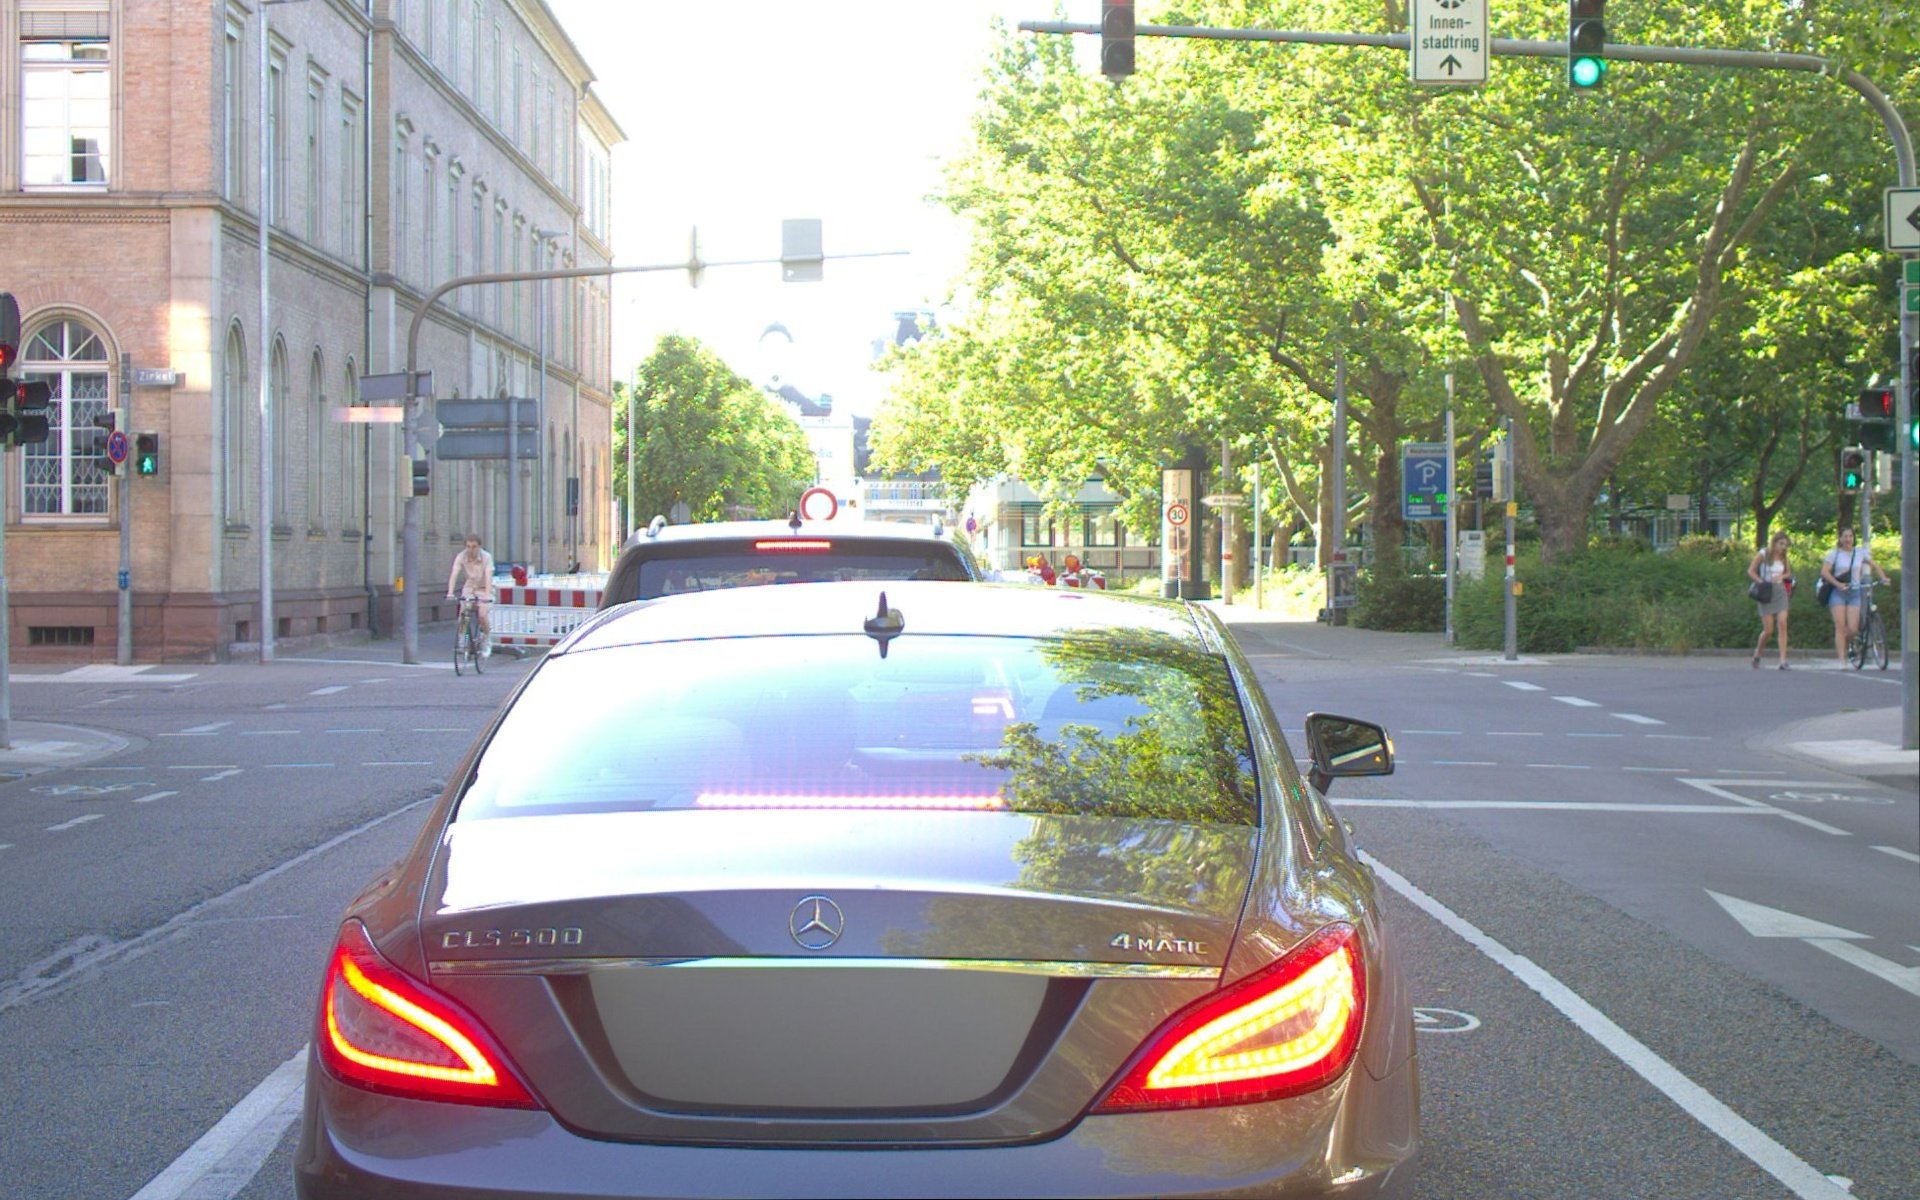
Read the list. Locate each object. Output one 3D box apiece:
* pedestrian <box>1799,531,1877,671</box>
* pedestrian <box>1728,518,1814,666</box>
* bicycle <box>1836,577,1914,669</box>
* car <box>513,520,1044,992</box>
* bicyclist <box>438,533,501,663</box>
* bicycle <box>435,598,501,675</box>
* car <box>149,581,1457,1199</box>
[{"bbox_3d":[10.768,0.005,42.174,0.683,1.691,0.971,1,0,0],"label":"pedestrian"},{"bbox_3d":[9.960,-0.094,42.252,0.732,1.802,0.909,-1,-1,-7],"label":"pedestrian"},{"bbox_3d":[11.149,0.270,41.930,0.524,1.096,1.741,1,1,2],"label":"bicycle"},{"bbox_3d":[-0.585,0.515,13.741,1.809,1.607,4.000,0,1,1],"label":"car"},{"bbox_3d":[-5.948,-0.029,41.744,0.648,1.553,0.807,1,0,-1],"label":"bicyclist"},{"bbox_3d":[-5.958,0.429,41.707,0.548,0.888,1.868,1,1,-1],"label":"bicycle"},{"bbox_3d":[-0.036,0.694,7.082,1.843,1.424,4.516,1,1,5],"label":"car"}]
